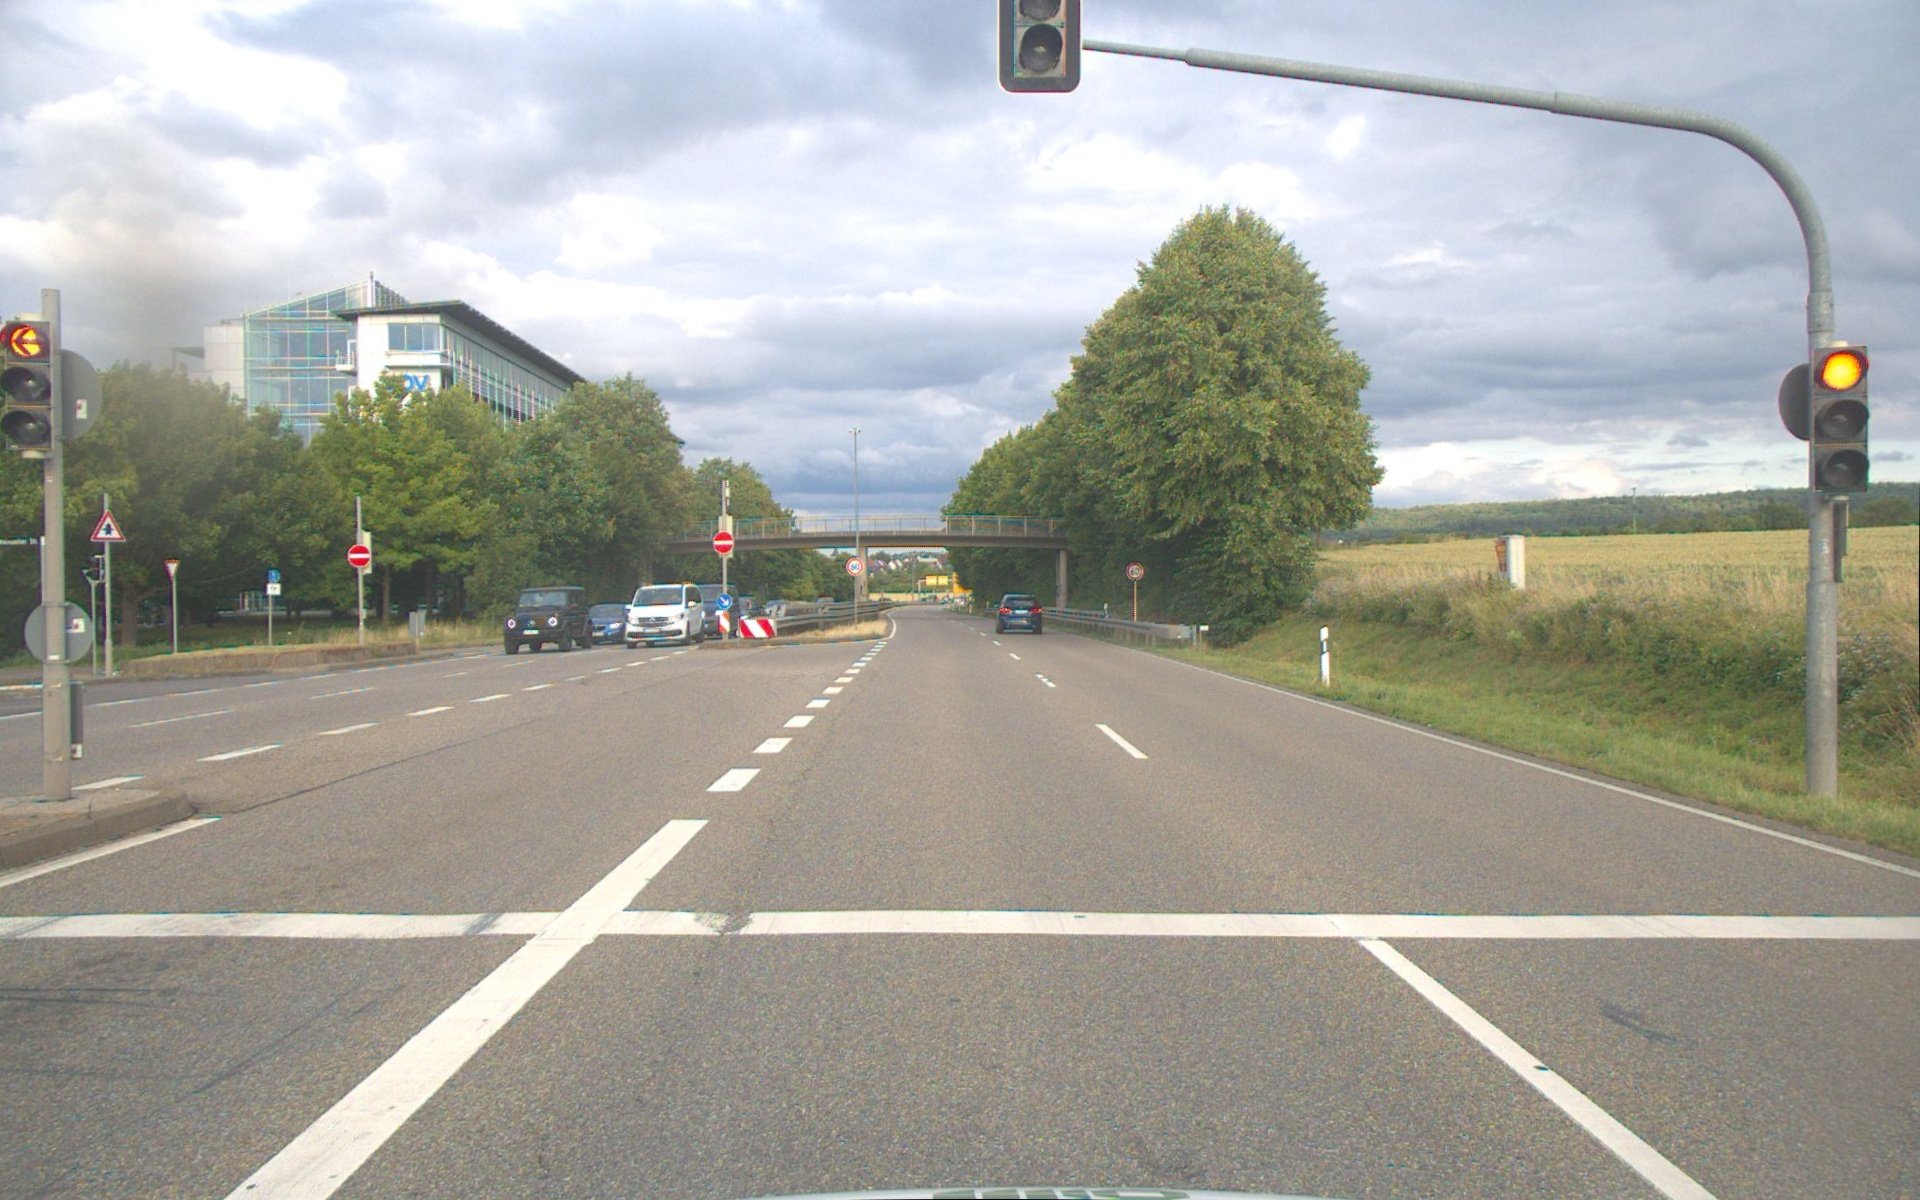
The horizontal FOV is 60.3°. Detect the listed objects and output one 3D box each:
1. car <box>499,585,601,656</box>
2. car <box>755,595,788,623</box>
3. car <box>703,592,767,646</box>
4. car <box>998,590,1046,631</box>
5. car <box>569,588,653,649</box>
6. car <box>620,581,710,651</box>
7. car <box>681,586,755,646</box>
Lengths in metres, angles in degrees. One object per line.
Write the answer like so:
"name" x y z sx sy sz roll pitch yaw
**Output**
"car" -12.750 0.617 51.742 2.041 2.049 5.214 1 0 -2
"car" -14.228 0.703 125.322 2.041 2.049 5.214 1 0 -2
"car" -9.105 0.748 67.214 2.041 2.049 5.214 1 0 -2
"car" 2.478 0.433 66.753 1.841 1.579 4.000 1 0 1
"car" -12.423 0.653 59.248 2.041 2.049 5.214 1 0 -2
"car" -9.190 0.473 51.912 2.041 2.049 5.214 1 0 -2
"car" -8.659 0.557 59.657 2.041 2.049 5.214 1 0 -2
